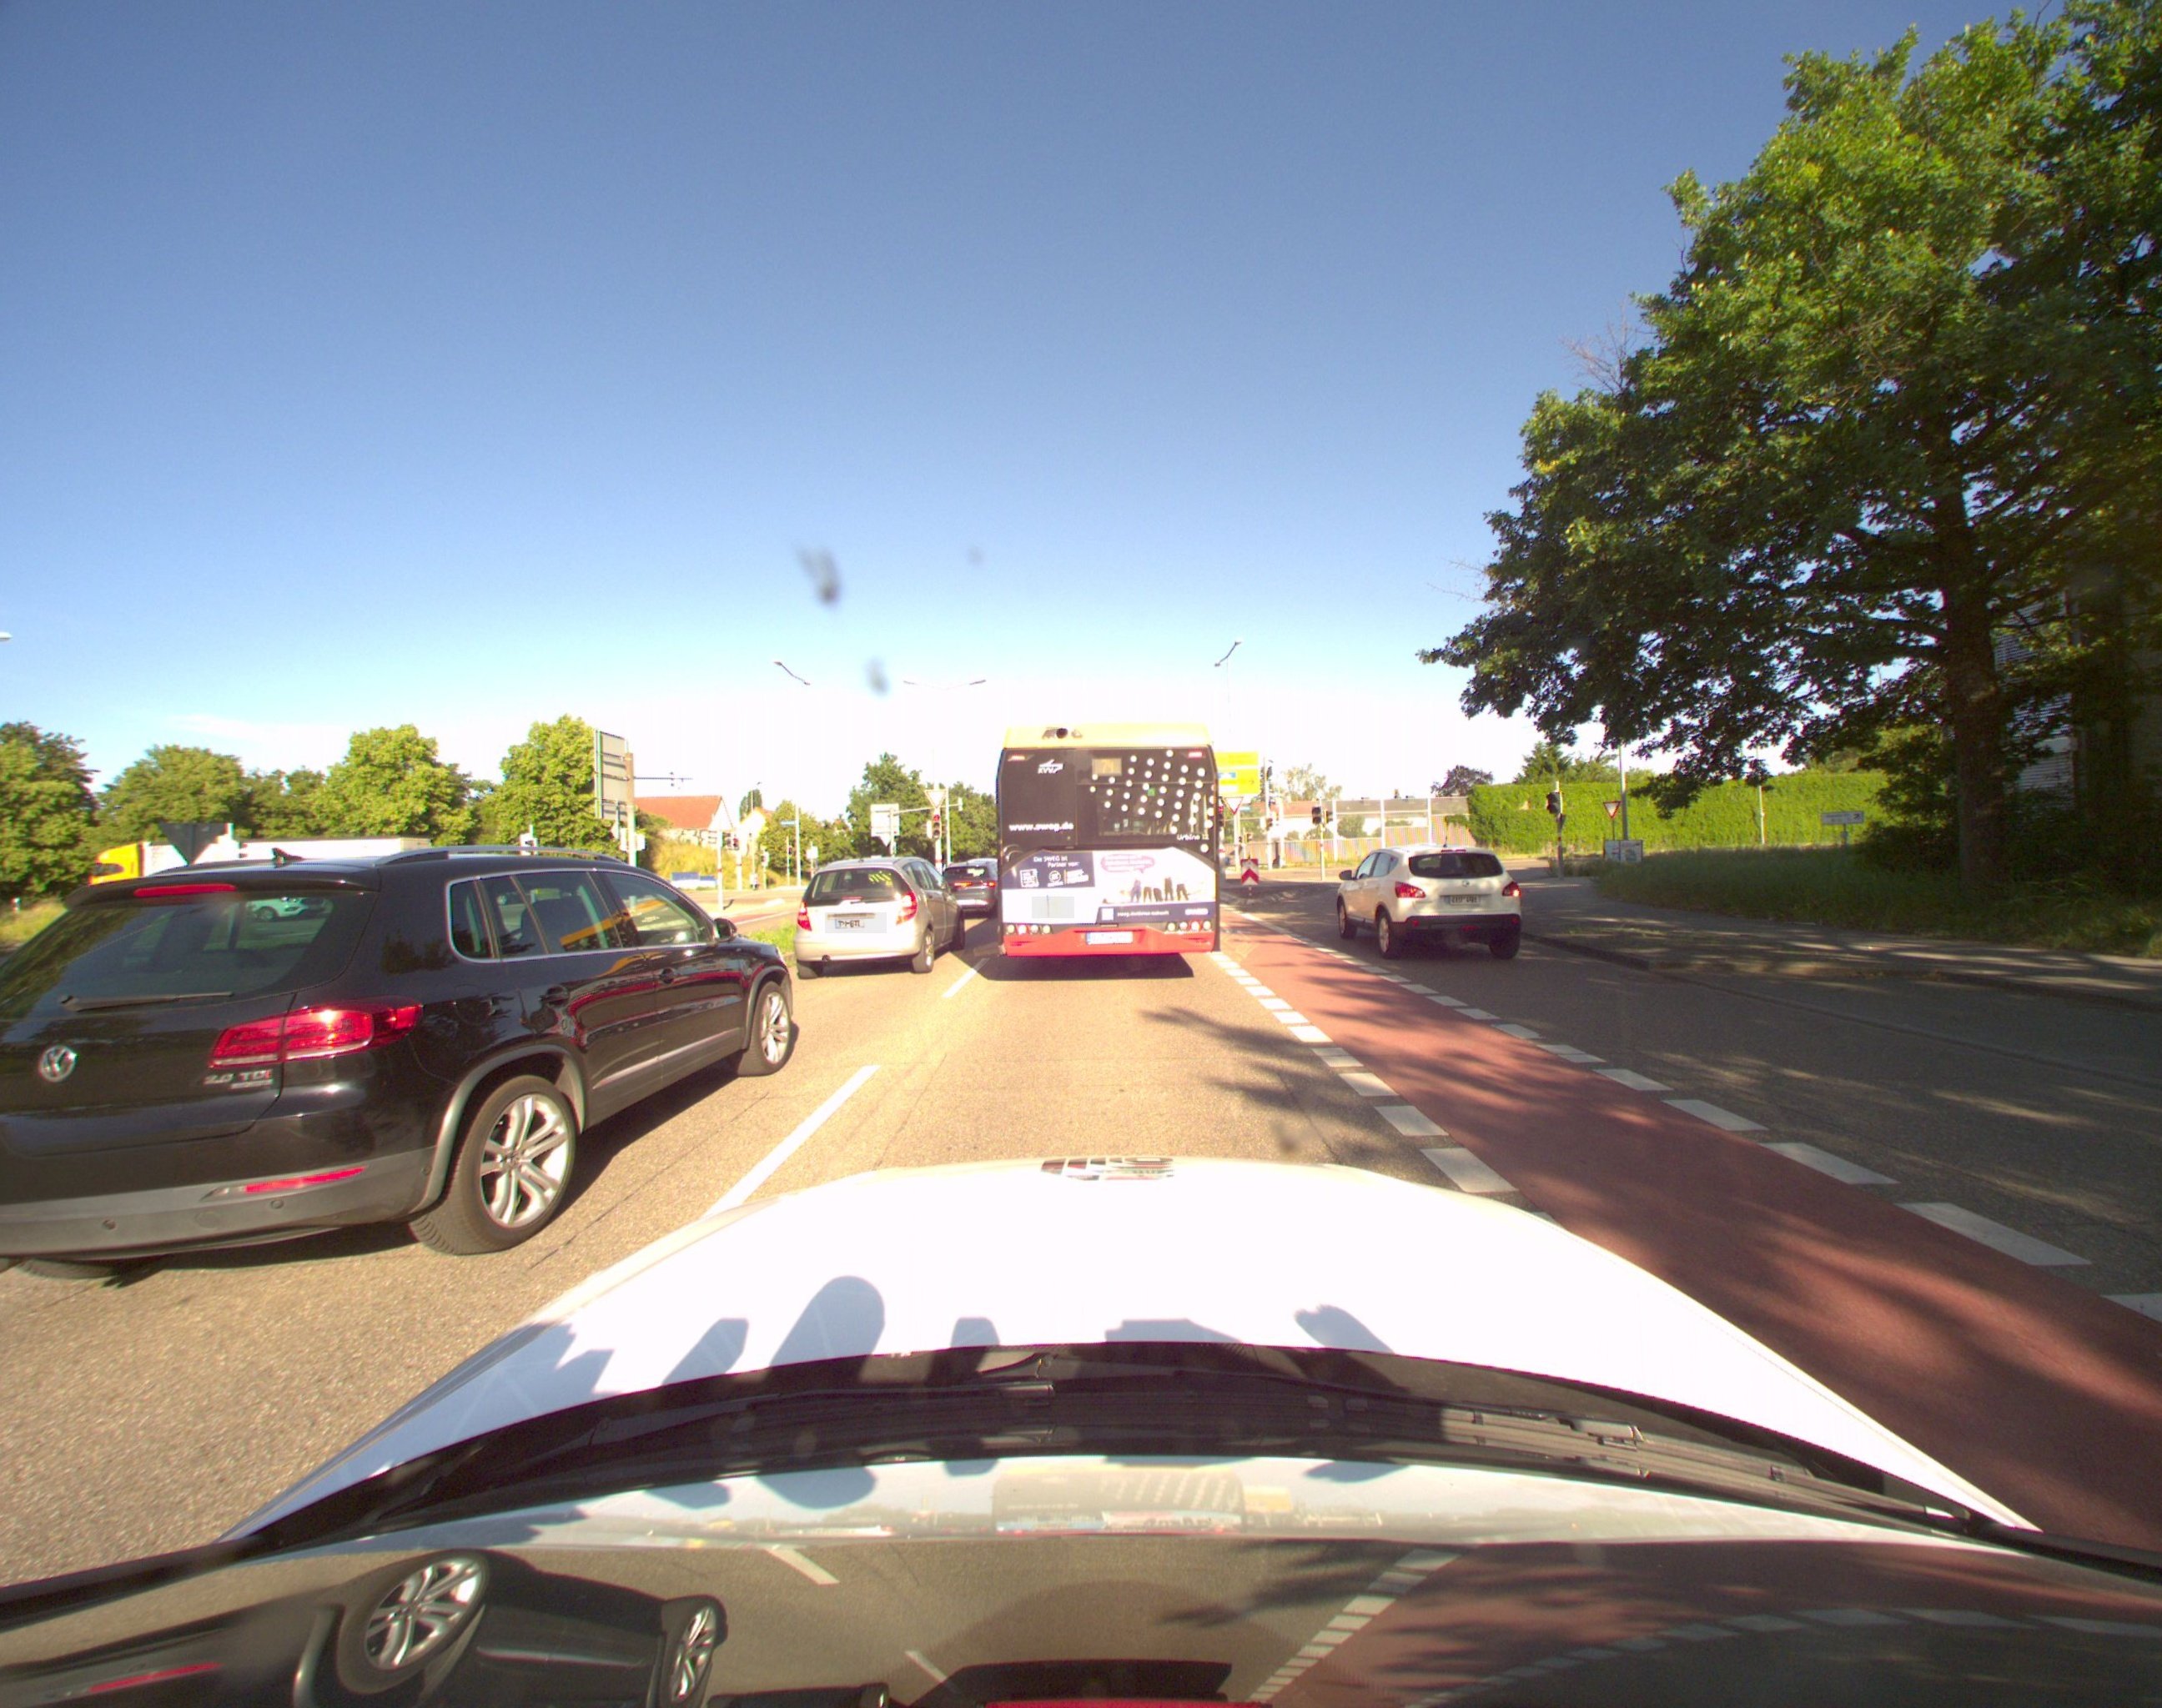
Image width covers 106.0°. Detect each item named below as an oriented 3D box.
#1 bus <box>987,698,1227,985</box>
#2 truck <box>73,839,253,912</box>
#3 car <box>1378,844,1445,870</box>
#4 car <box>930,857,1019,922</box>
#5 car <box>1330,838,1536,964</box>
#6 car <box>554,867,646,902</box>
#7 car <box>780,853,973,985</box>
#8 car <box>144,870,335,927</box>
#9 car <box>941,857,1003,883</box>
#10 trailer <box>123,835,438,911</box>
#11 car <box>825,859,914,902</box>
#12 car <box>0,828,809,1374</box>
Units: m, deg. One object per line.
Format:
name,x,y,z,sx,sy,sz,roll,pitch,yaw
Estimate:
bus,0.528,-0.164,15.028,2.632,3.167,11.867,-1,0,2
truck,-54.414,1.238,48.458,6.463,4.013,3.436,-1,0,-4
car,23.582,0.193,58.221,3.973,1.816,1.923,0,-1,0
car,-2.684,0.857,21.324,1.686,1.458,3.751,-3,0,1
car,5.154,0.606,12.539,1.709,1.607,4.073,-1,0,5
car,-24.566,1.537,41.683,3.577,1.560,1.747,-2,0,-5
car,-2.870,0.825,12.390,1.755,1.589,4.001,-3,0,1
car,-34.761,1.796,33.798,5.375,2.118,2.178,-1,-1,-4
car,-6.958,0.985,52.204,3.800,1.612,1.704,0,-1,-5
trailer,-47.730,1.098,49.018,14.628,4.013,3.435,-1,0,-5
car,-8.573,1.029,33.370,1.750,1.526,4.095,-3,0,13
car,-3.166,0.799,4.564,1.766,1.653,4.001,-3,0,1
